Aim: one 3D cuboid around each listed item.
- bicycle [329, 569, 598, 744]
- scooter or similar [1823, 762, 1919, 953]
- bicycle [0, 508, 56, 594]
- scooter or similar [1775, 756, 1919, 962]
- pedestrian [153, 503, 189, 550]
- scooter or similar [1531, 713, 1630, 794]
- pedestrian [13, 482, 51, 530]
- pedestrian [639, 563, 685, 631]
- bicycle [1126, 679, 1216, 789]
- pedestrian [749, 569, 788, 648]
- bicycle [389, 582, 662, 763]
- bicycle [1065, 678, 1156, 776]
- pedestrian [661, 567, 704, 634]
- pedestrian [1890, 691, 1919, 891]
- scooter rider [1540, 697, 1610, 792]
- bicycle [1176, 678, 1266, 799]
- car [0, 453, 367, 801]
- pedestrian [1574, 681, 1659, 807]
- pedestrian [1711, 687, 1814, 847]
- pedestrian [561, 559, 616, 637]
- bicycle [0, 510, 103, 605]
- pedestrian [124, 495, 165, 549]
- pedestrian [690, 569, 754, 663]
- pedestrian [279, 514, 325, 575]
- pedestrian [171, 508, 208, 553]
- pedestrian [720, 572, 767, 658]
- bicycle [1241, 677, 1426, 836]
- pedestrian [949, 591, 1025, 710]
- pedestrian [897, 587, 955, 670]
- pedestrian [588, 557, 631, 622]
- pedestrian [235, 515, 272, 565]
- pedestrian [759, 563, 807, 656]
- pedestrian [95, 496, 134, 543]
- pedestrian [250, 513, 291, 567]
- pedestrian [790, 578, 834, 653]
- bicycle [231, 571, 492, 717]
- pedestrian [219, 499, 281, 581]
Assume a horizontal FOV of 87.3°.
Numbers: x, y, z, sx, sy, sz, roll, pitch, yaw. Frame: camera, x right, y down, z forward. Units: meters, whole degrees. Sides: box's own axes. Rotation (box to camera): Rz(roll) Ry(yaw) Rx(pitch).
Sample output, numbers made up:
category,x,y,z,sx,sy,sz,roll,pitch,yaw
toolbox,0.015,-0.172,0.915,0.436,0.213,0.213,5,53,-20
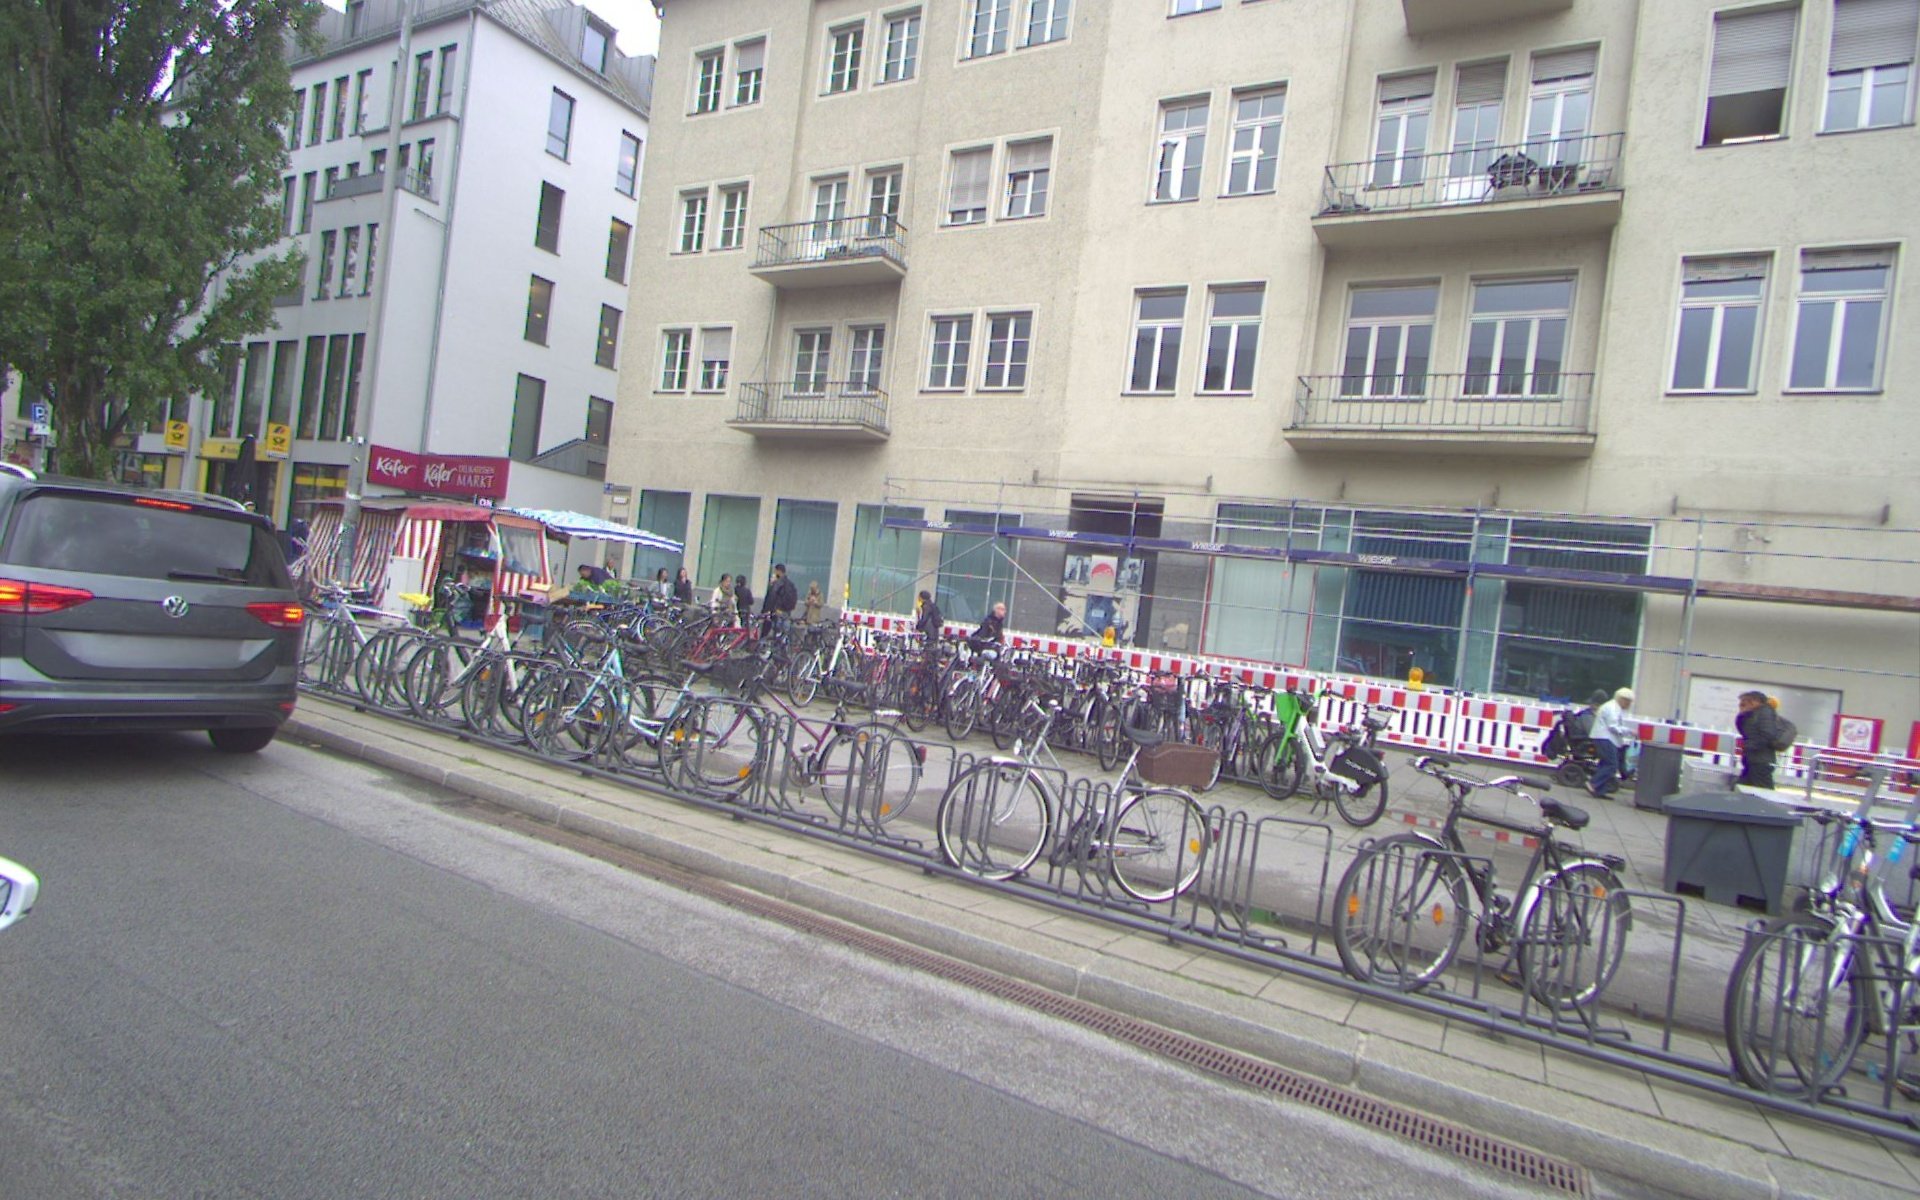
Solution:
category,x,y,z,sx,sy,sz,roll,pitch,yaw
bicycle,-4.045,0.471,8.346,1.811,1.212,0.584,7,0,-17
scooter or similar,6.702,1.802,6.735,0.298,1.190,1.268,6,1,-28
bicycle,-14.190,-0.784,14.288,1.814,1.150,0.583,7,0,-24
scooter or similar,6.371,1.760,6.688,0.361,1.190,1.337,6,1,-28
pedestrian,-28.409,-2.641,36.223,0.665,1.578,0.714,7,1,31
scooter or similar,9.067,2.233,14.740,1.106,0.956,0.535,7,2,29
pedestrian,-34.095,-3.450,36.965,0.665,1.613,0.765,7,0,31
pedestrian,-6.622,-0.058,22.348,0.570,1.420,0.599,7,1,31
bicycle,2.181,1.340,10.309,0.363,1.012,1.316,7,0,32
pedestrian,-3.796,0.168,19.938,0.501,1.502,0.462,6,1,-24
bicycle,-3.358,0.572,7.942,1.811,1.182,0.584,7,0,-17
bicycle,1.606,1.307,10.603,0.363,0.926,1.294,7,0,32
pedestrian,-6.298,0.012,22.854,0.570,1.420,0.575,7,1,31
pedestrian,8.975,1.736,8.965,0.747,1.750,0.812,8,2,37
scooter rider,9.014,2.096,14.767,0.707,1.235,0.686,7,2,29
bicycle,2.651,1.356,10.124,0.363,1.090,1.419,7,0,32
car,-6.192,-0.048,6.620,4.628,1.667,1.775,7,0,30
pedestrian,8.941,1.936,13.739,0.745,1.537,0.778,7,2,29
pedestrian,9.352,1.917,11.752,0.710,1.692,0.657,8,2,35
pedestrian,-7.313,-0.039,19.817,0.648,1.443,0.616,7,1,36
bicycle,-12.919,-0.626,13.620,1.814,1.150,0.583,7,0,-24
pedestrian,-25.905,-2.462,31.966,0.665,1.578,0.714,7,1,31
pedestrian,-4.260,0.279,17.976,0.801,1.541,0.795,7,1,-26
pedestrian,-18.985,-1.590,29.037,0.729,1.622,0.733,7,1,31
pedestrian,-24.831,-2.232,32.420,0.665,1.322,0.639,7,1,31
pedestrian,-4.066,0.270,18.868,0.574,1.524,0.612,6,1,-28
bicycle,3.431,1.413,9.405,0.365,1.156,1.712,6,0,-26
pedestrian,0.424,0.796,15.862,0.745,1.750,0.743,7,2,31
pedestrian,-0.698,0.593,20.727,0.774,1.588,0.649,7,1,32
pedestrian,-8.249,-0.241,23.684,0.570,1.420,0.599,7,1,31
pedestrian,-24.421,-2.072,34.786,0.665,1.577,0.714,7,1,31
pedestrian,-3.391,0.171,19.262,0.594,1.690,0.682,6,1,-24
pedestrian,-26.240,-2.496,31.228,0.665,1.322,0.639,7,1,31
pedestrian,-22.261,-1.924,32.484,0.729,1.622,0.733,7,1,31
pedestrian,-3.486,0.368,23.694,0.553,1.665,0.642,7,1,31
bicycle,-5.276,0.391,8.985,1.811,1.065,0.584,7,0,-17
pedestrian,-16.381,-1.382,23.217,0.751,1.749,0.791,7,1,31
